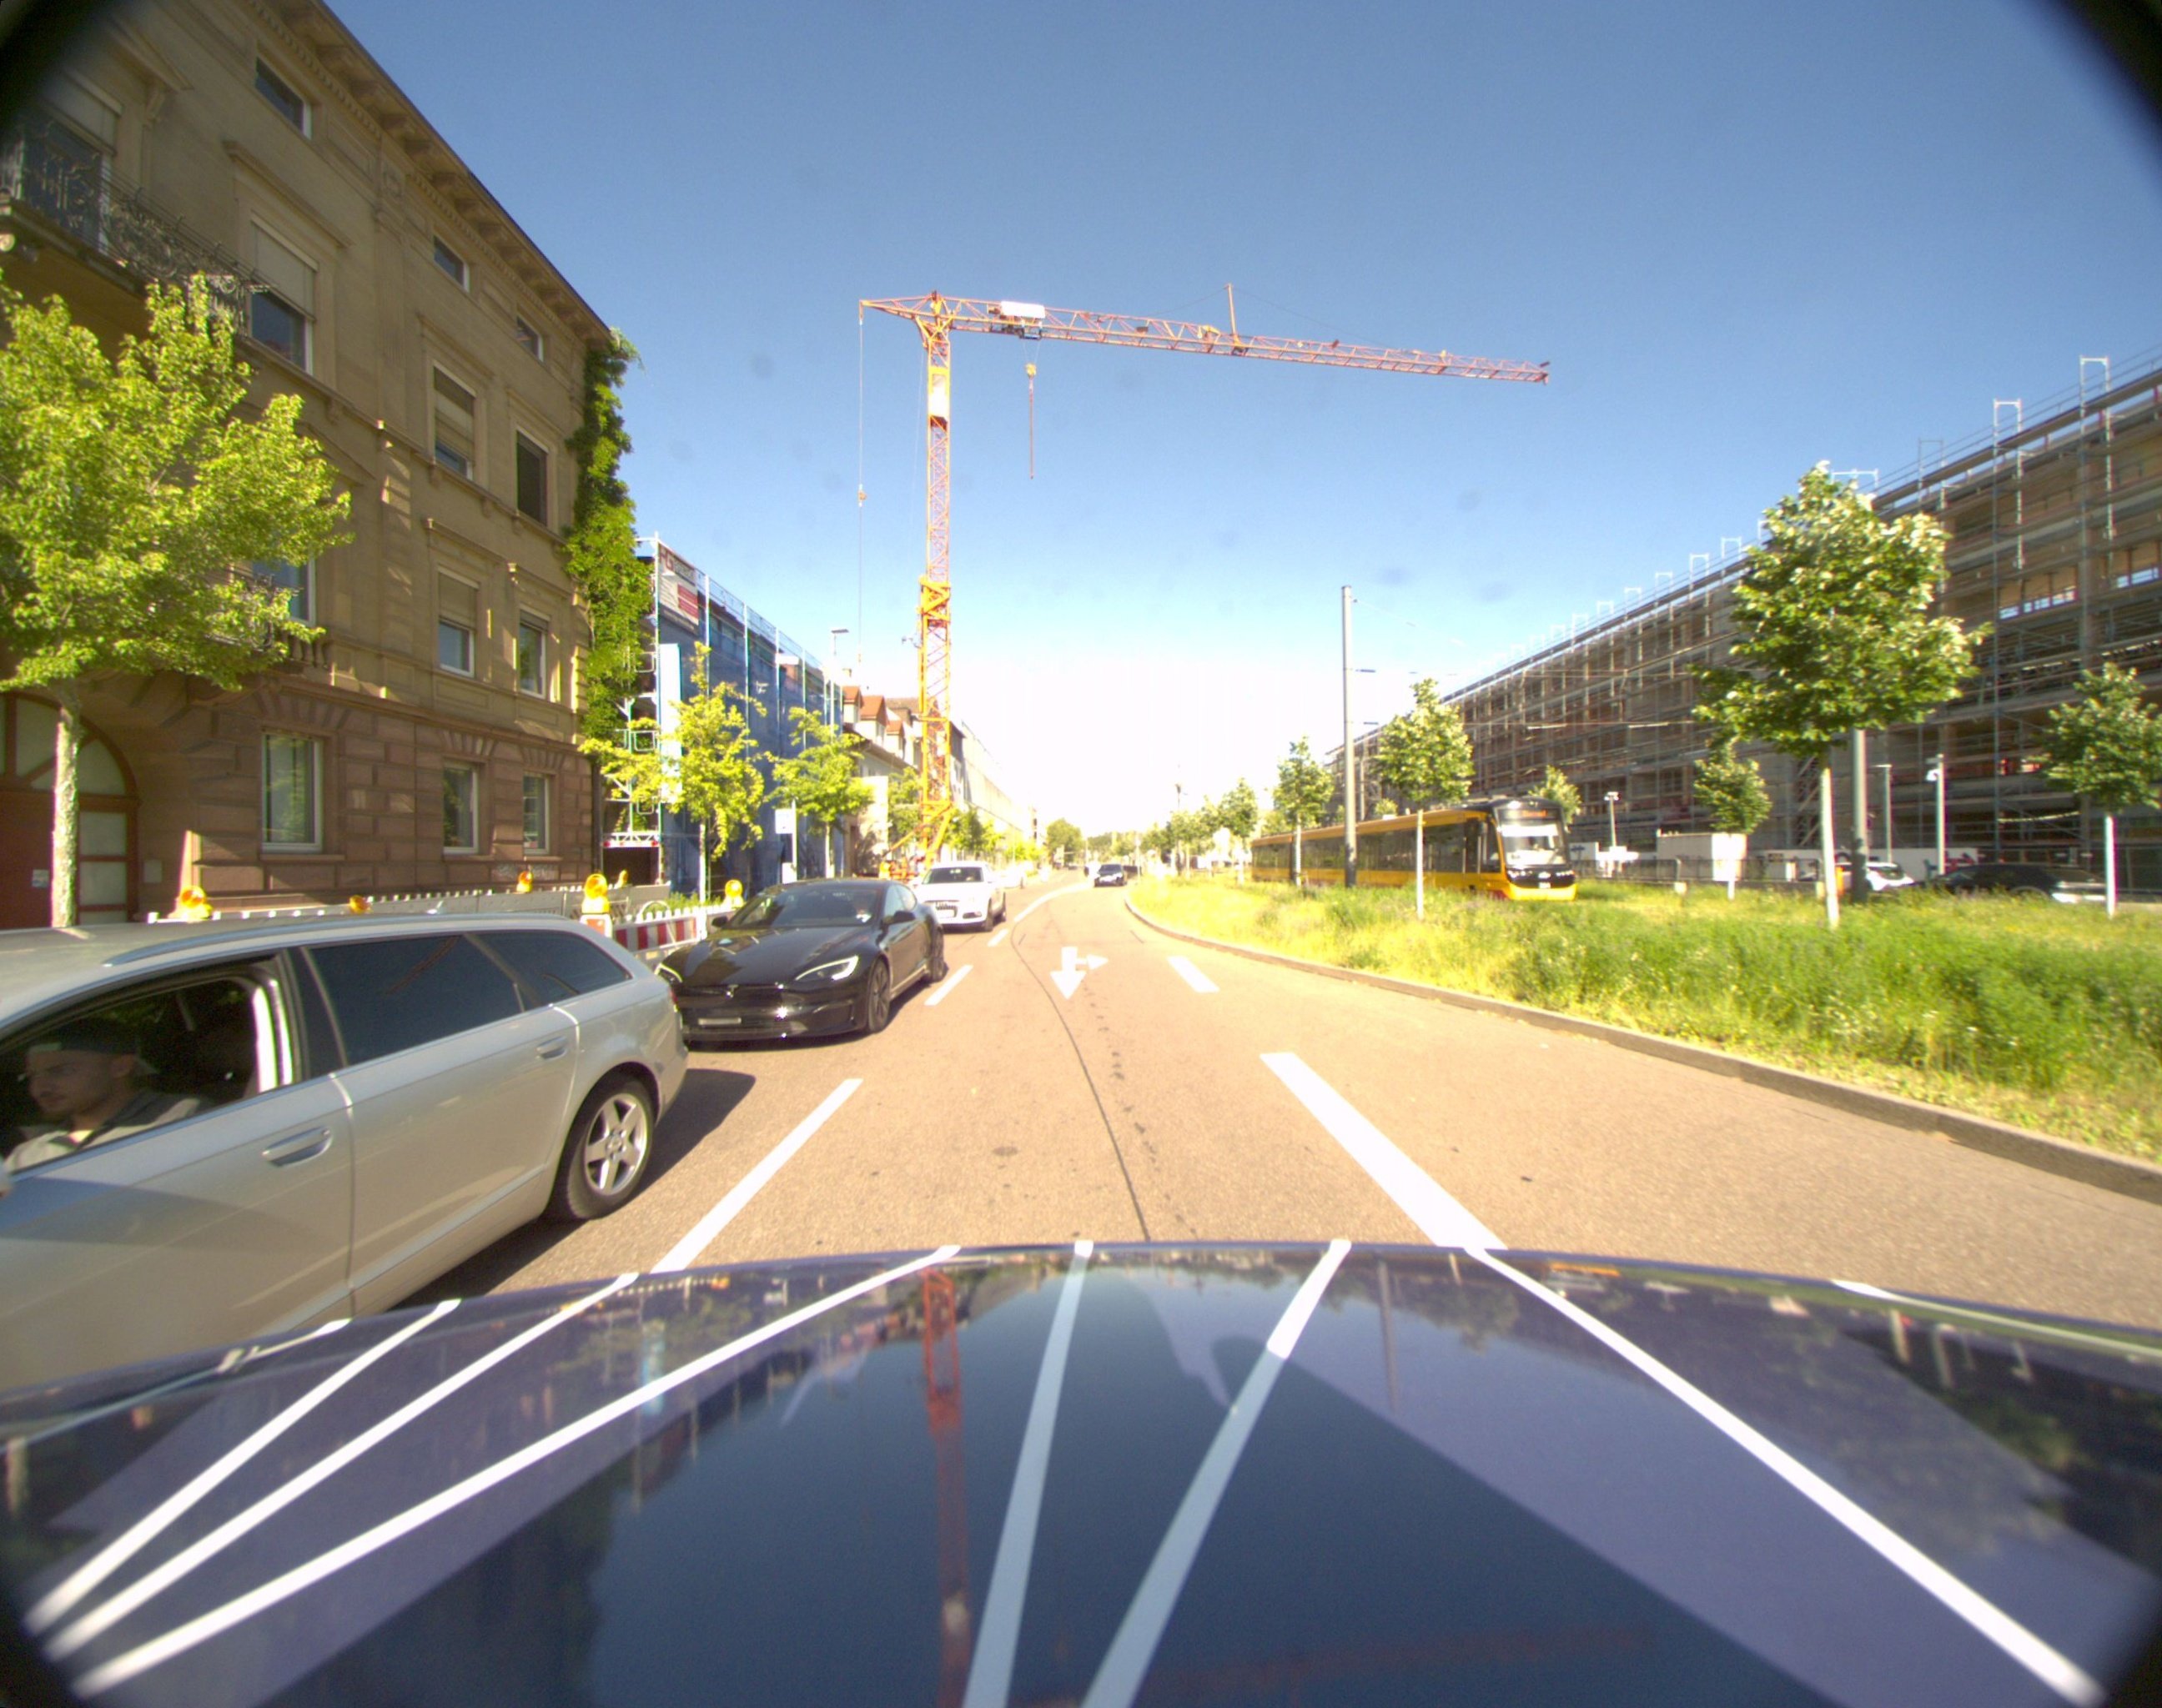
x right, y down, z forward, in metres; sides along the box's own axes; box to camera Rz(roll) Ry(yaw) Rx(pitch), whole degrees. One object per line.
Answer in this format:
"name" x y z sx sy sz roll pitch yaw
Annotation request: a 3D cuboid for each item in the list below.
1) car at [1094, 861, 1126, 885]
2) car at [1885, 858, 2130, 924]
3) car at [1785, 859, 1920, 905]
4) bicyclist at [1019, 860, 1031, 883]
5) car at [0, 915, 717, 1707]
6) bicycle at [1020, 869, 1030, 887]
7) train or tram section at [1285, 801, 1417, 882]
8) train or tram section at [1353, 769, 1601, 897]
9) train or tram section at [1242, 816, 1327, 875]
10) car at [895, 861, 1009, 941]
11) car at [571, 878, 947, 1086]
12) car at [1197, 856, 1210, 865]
"car" 1.862 1.214 48.675 1.927 1.434 4.178 0 0 2
"car" 27.905 1.037 23.185 1.998 1.782 4.527 0 0 1
"car" 33.960 1.180 33.630 1.914 1.907 3.986 -1 0 0
"bicyclist" -3.699 1.157 50.135 0.755 1.454 0.587 -1 1 -5
"car" -3.055 1.061 1.933 1.752 1.419 4.839 -1 0 2
"bicycle" -3.702 1.563 50.174 0.610 1.144 1.986 0 0 -5
"train or tram section" 13.929 -0.556 40.787 2.822 3.617 12.790 0 0 1
"train or tram section" 13.551 -0.585 27.996 2.822 3.617 12.790 0 0 2
"train or tram section" 14.014 -0.527 53.572 2.822 3.617 12.790 0 0 1
"car" -2.959 1.022 18.288 1.934 1.623 4.000 -2 0 1
"car" -2.897 1.065 8.156 2.056 1.435 4.524 -2 0 0
"car" 28.970 1.482 179.706 2.338 2.146 4.397 -1 0 0
